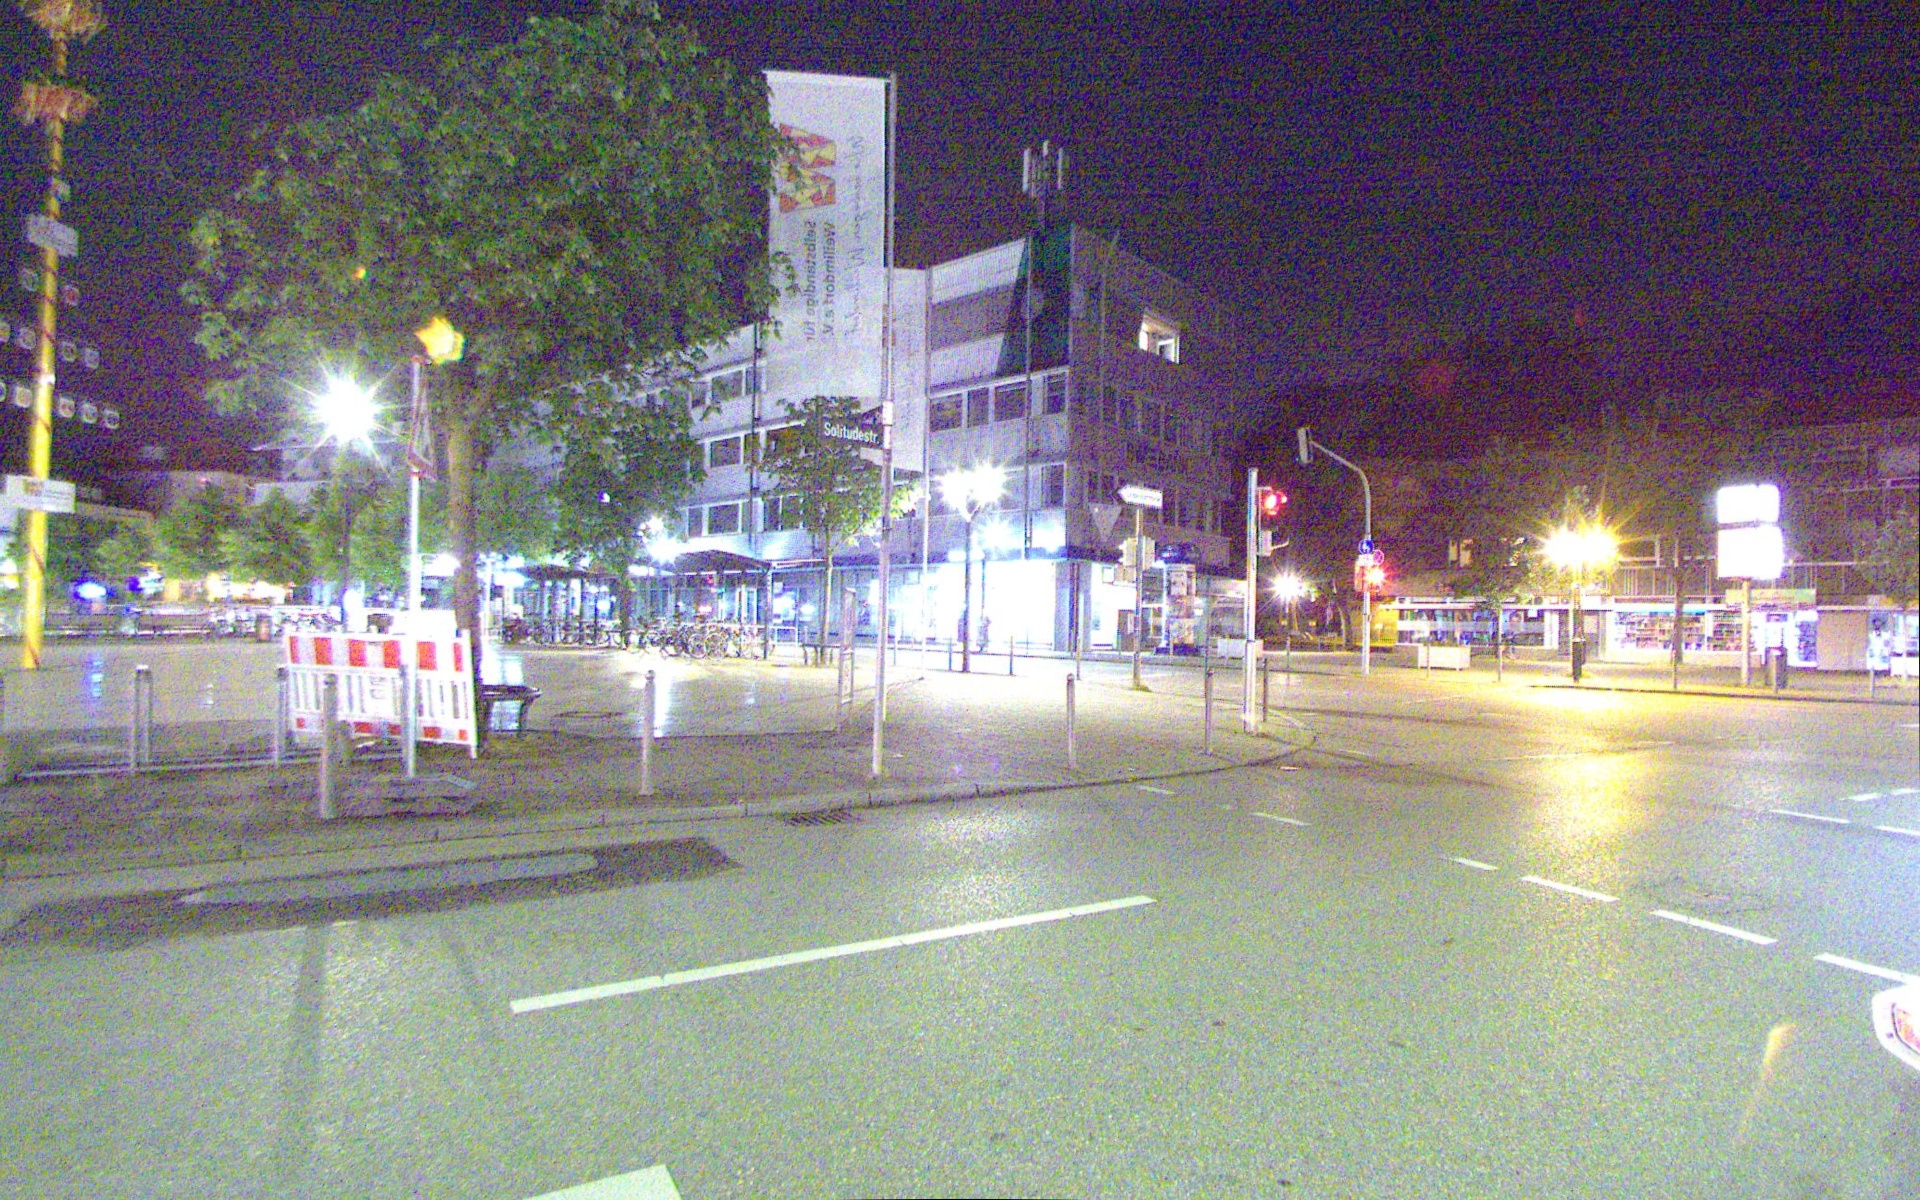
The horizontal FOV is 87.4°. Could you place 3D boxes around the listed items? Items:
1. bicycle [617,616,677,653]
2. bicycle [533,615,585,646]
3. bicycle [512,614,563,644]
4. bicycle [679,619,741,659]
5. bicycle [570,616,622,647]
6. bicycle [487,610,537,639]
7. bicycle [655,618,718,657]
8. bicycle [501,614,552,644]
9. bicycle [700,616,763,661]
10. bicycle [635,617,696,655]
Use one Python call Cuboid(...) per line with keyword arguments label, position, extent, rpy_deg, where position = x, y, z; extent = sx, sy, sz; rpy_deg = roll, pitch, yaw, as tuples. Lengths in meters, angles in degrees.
Cuboid(label="bicycle", position=(-8.533, 0.942, 27.426), extent=(0.473, 0.970, 1.525), rpy_deg=(2, 0, 44))
Cuboid(label="bicycle", position=(-13.184, 1.000, 33.063), extent=(0.473, 0.970, 1.525), rpy_deg=(2, 0, 44))
Cuboid(label="bicycle", position=(-14.186, 0.988, 33.741), extent=(0.473, 0.970, 1.525), rpy_deg=(2, 0, 44))
Cuboid(label="bicycle", position=(-6.344, 0.988, 25.563), extent=(0.440, 0.970, 1.525), rpy_deg=(2, 0, 43))
Cuboid(label="bicycle", position=(-11.994, 1.036, 33.136), extent=(0.473, 0.970, 1.525), rpy_deg=(2, 0, 44))
Cuboid(label="bicycle", position=(-15.552, 0.850, 34.886), extent=(0.473, 0.970, 1.525), rpy_deg=(2, 0, 44))
Cuboid(label="bicycle", position=(-7.110, 0.974, 26.146), extent=(0.473, 0.970, 1.525), rpy_deg=(2, 0, 44))
Cuboid(label="bicycle", position=(-14.822, 0.996, 34.396), extent=(0.473, 0.970, 1.525), rpy_deg=(2, 0, 44))
Cuboid(label="bicycle", position=(-5.653, 0.948, 24.927), extent=(0.440, 1.068, 1.525), rpy_deg=(2, 0, 43))
Cuboid(label="bicycle", position=(-7.853, 0.959, 26.825), extent=(0.473, 0.970, 1.525), rpy_deg=(2, 0, 44))
